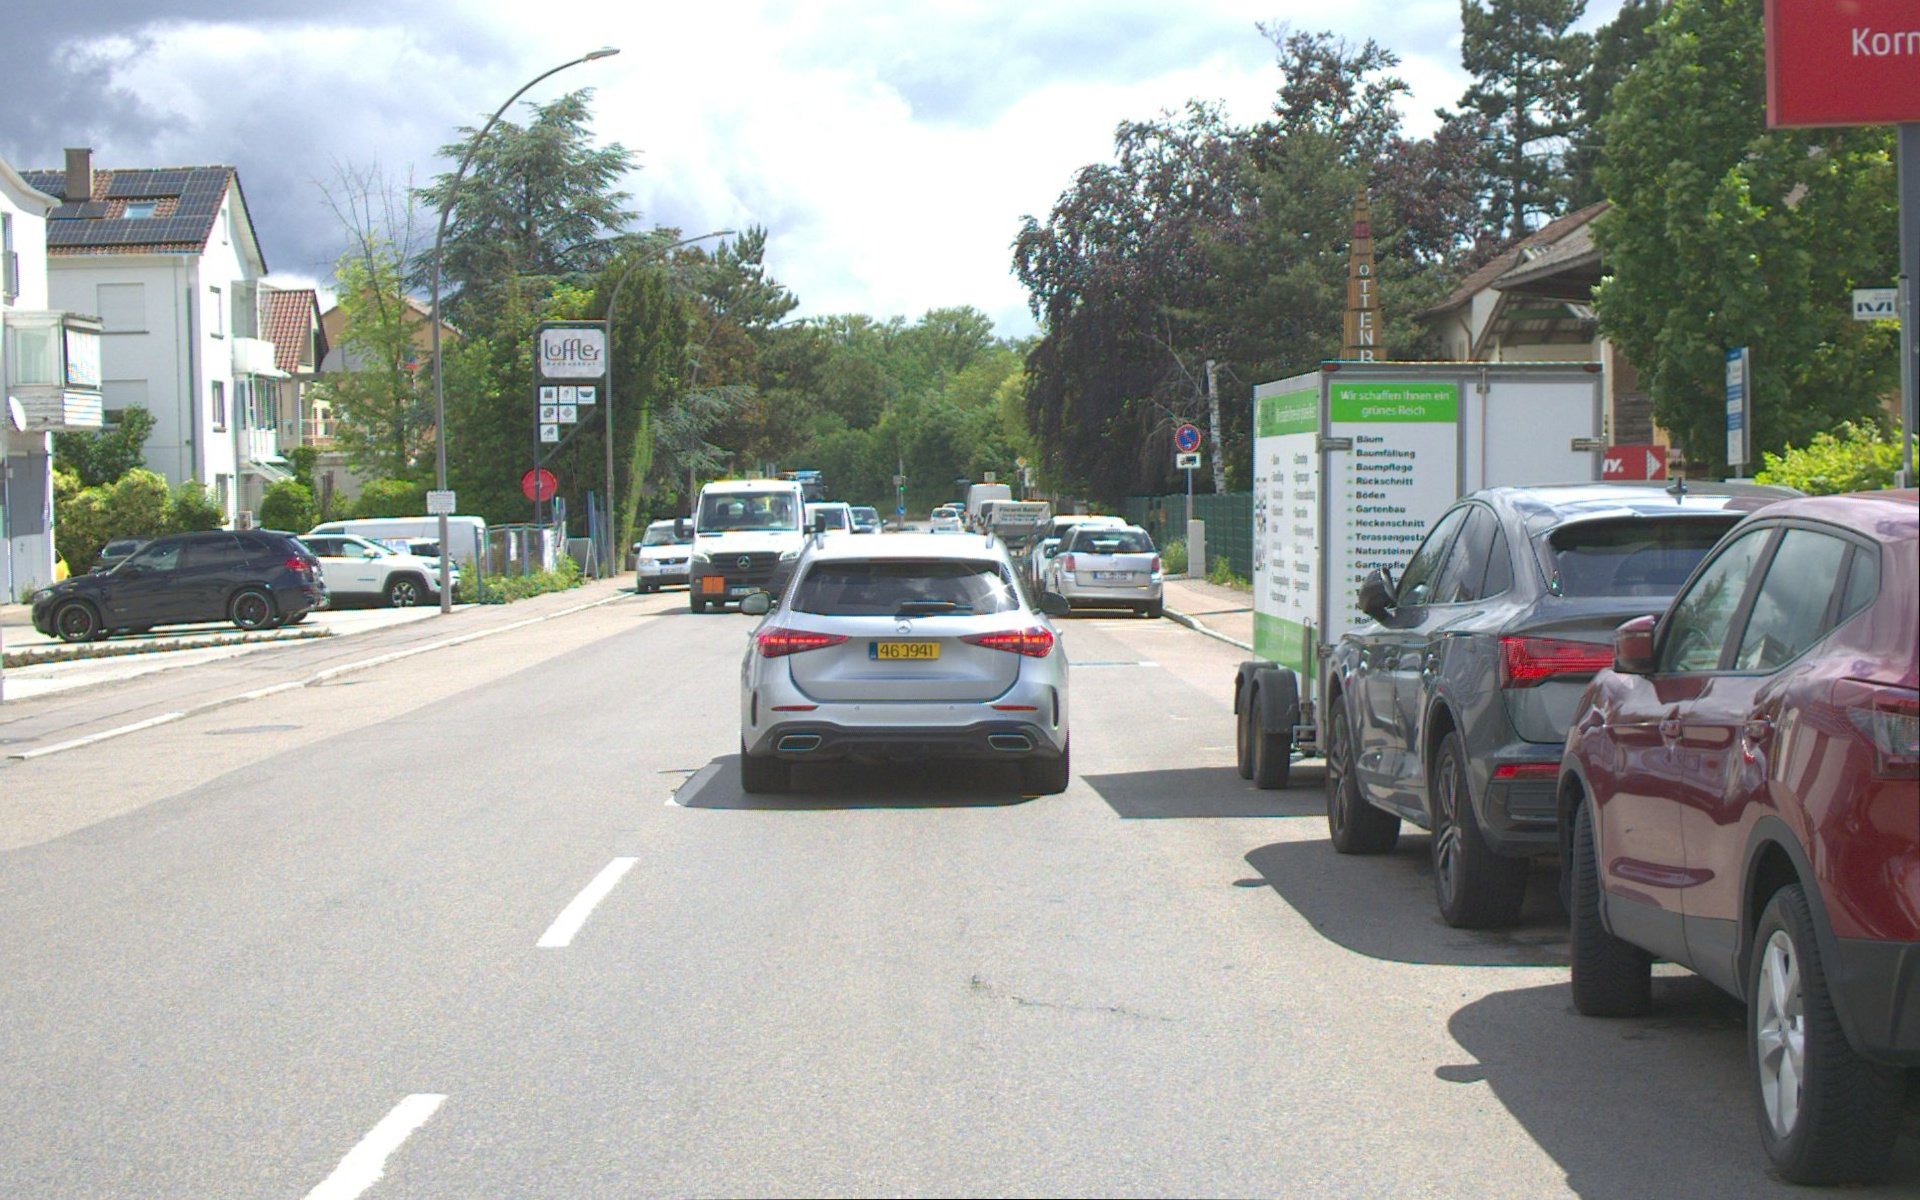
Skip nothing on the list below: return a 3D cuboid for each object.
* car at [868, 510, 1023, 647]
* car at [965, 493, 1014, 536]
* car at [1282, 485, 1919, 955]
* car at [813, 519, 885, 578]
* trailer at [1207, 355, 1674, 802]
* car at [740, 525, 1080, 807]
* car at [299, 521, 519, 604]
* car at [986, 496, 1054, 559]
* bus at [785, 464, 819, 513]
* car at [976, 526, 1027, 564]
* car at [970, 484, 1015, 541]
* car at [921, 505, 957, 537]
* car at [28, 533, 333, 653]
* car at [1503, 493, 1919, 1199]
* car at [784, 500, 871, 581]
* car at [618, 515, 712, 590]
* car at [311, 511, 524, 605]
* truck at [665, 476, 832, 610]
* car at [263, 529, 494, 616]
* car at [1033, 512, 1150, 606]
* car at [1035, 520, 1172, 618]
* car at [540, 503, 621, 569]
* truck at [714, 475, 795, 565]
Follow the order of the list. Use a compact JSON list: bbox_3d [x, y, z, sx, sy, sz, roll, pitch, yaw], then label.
[{"bbox_3d":[-0.223,-0.303,42.265,1.755,1.552,4.001,-1,2,-2],"label":"car"},{"bbox_3d":[1.192,-3.469,139.938,1.784,1.709,4.317,0,1,-2],"label":"car"},{"bbox_3d":[2.603,0.346,14.043,1.941,1.566,4.446,-2,2,-2],"label":"car"},{"bbox_3d":[-3.453,-1.634,107.755,1.993,1.727,4.548,-2,2,1],"label":"car"},{"bbox_3d":[2.677,-0.163,20.207,1.941,2.286,4.446,-2,1,-2],"label":"trailer"},{"bbox_3d":[-0.348,0.308,20.197,1.784,1.479,4.317,0,1,-2],"label":"car"},{"bbox_3d":[-11.505,-0.768,71.948,4.279,1.561,1.991,-1,-2,-1],"label":"car"},{"bbox_3d":[1.982,-2.435,114.871,2.144,1.977,5.261,-1,2,0],"label":"car"},{"bbox_3d":[-11.026,-7.765,239.504,1.993,3.352,6.984,1,2,-6],"label":"bus"},{"bbox_3d":[1.615,-2.167,134.971,1.784,1.479,4.317,0,1,-2],"label":"car"},{"bbox_3d":[1.416,-3.867,152.419,1.784,2.510,4.317,0,1,-2],"label":"car"},{"bbox_3d":[-1.071,-3.974,172.494,1.755,1.552,4.001,-1,2,-1],"label":"car"},{"bbox_3d":[-13.137,-0.135,58.166,4.626,1.627,2.198,-4,2,-3],"label":"car"},{"bbox_3d":[2.728,0.508,9.148,1.941,1.566,4.446,-2,2,2],"label":"car"},{"bbox_3d":[-3.216,-1.489,84.341,1.993,1.882,5.117,-2,2,-1],"label":"car"},{"bbox_3d":[-6.790,-1.128,79.464,1.792,1.598,4.364,-2,2,-1],"label":"car"},{"bbox_3d":[-11.696,-0.894,74.316,4.279,1.830,1.991,-1,-2,-1],"label":"car"},{"bbox_3d":[-3.677,-1.054,60.954,2.319,2.171,6.449,-2,2,2],"label":"truck"},{"bbox_3d":[-11.640,-0.541,69.014,4.279,1.561,1.991,-1,-2,0],"label":"car"},{"bbox_3d":[2.320,-0.767,61.684,1.791,1.546,4.574,-2,2,-1],"label":"car"},{"bbox_3d":[2.288,-0.538,55.942,1.791,1.445,4.364,-2,2,-3],"label":"car"},{"bbox_3d":[-10.240,-1.753,93.034,1.993,1.651,4.001,-2,2,-4],"label":"car"},{"bbox_3d":[-6.718,-2.665,113.171,2.075,2.804,7.078,-2,2,1],"label":"truck"}]
